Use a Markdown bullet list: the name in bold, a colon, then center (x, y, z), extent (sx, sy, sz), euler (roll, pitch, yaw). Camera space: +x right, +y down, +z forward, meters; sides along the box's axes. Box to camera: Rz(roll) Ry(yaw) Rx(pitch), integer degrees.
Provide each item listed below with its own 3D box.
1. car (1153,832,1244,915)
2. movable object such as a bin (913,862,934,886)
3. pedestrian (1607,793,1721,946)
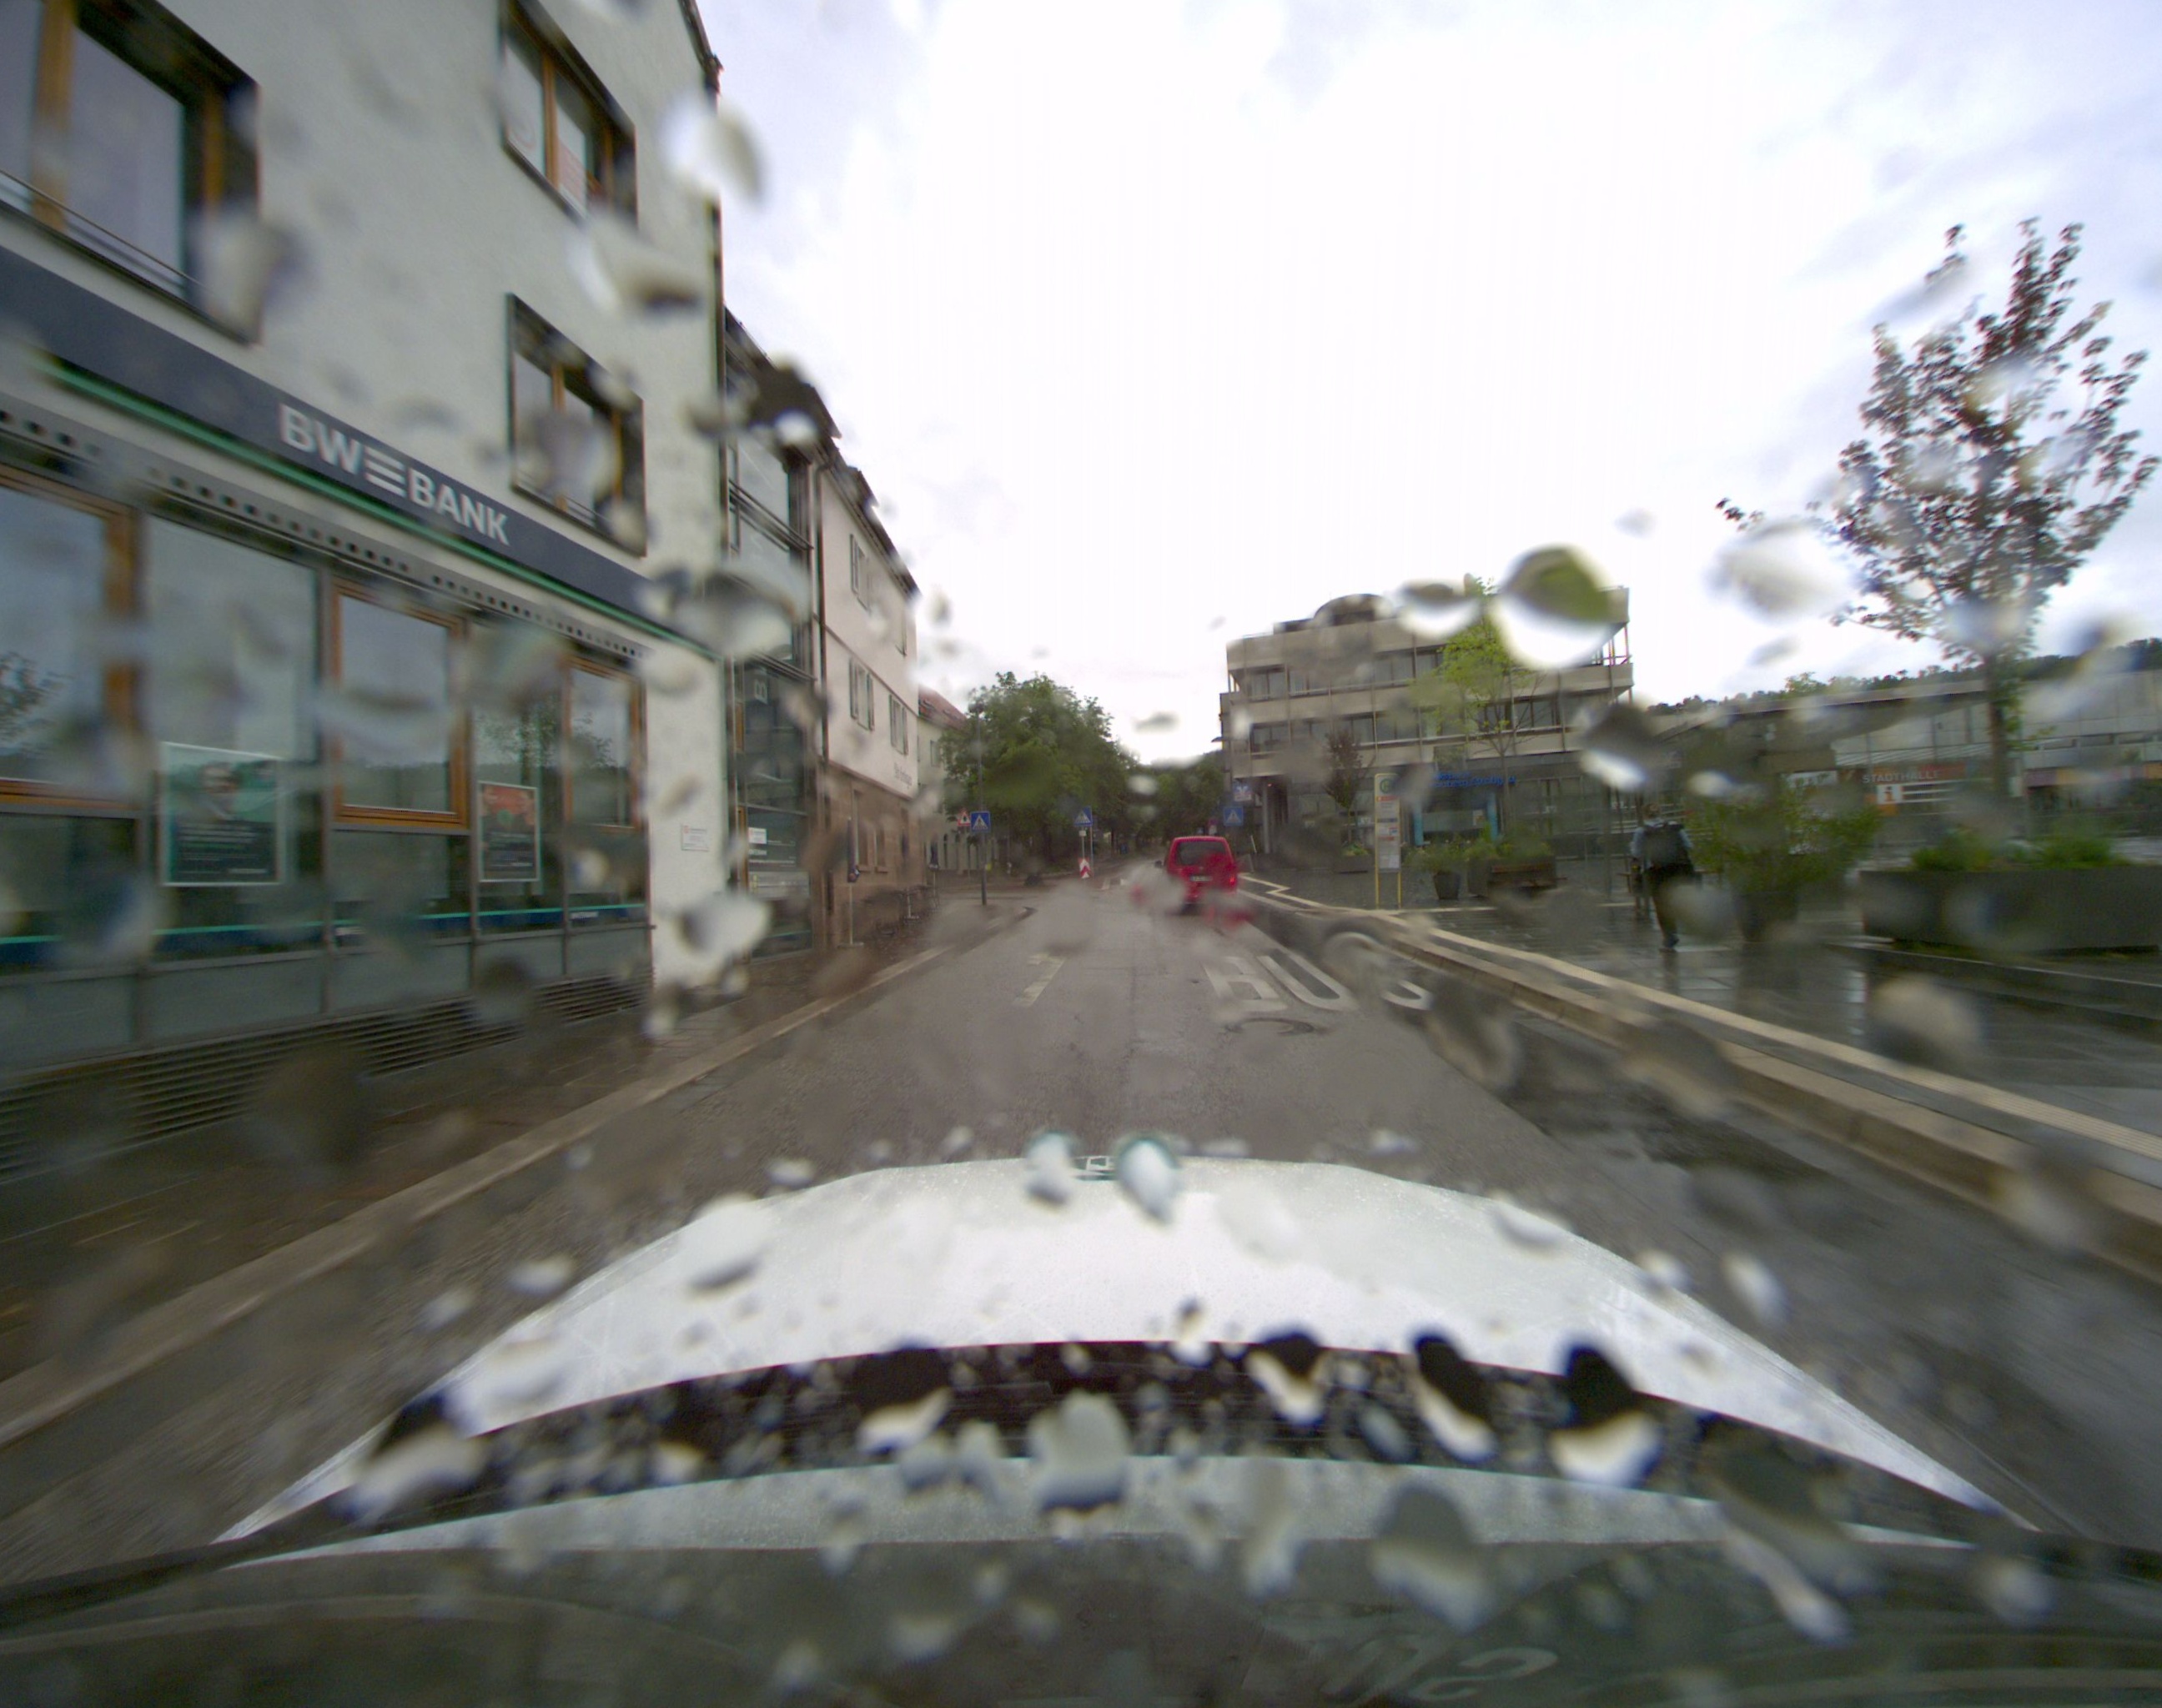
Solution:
- **car**: center (2.887, 0.470, 20.817), extent (1.854, 1.830, 4.188), euler (-3, -1, 3)
- **movable object such as a bin**: center (-7.857, 1.001, 40.727), extent (0.731, 1.124, 0.653), euler (-4, -1, 18)
- **pedestrian**: center (6.545, 0.176, 9.184), extent (0.723, 1.617, 0.695), euler (-4, -1, 9)
